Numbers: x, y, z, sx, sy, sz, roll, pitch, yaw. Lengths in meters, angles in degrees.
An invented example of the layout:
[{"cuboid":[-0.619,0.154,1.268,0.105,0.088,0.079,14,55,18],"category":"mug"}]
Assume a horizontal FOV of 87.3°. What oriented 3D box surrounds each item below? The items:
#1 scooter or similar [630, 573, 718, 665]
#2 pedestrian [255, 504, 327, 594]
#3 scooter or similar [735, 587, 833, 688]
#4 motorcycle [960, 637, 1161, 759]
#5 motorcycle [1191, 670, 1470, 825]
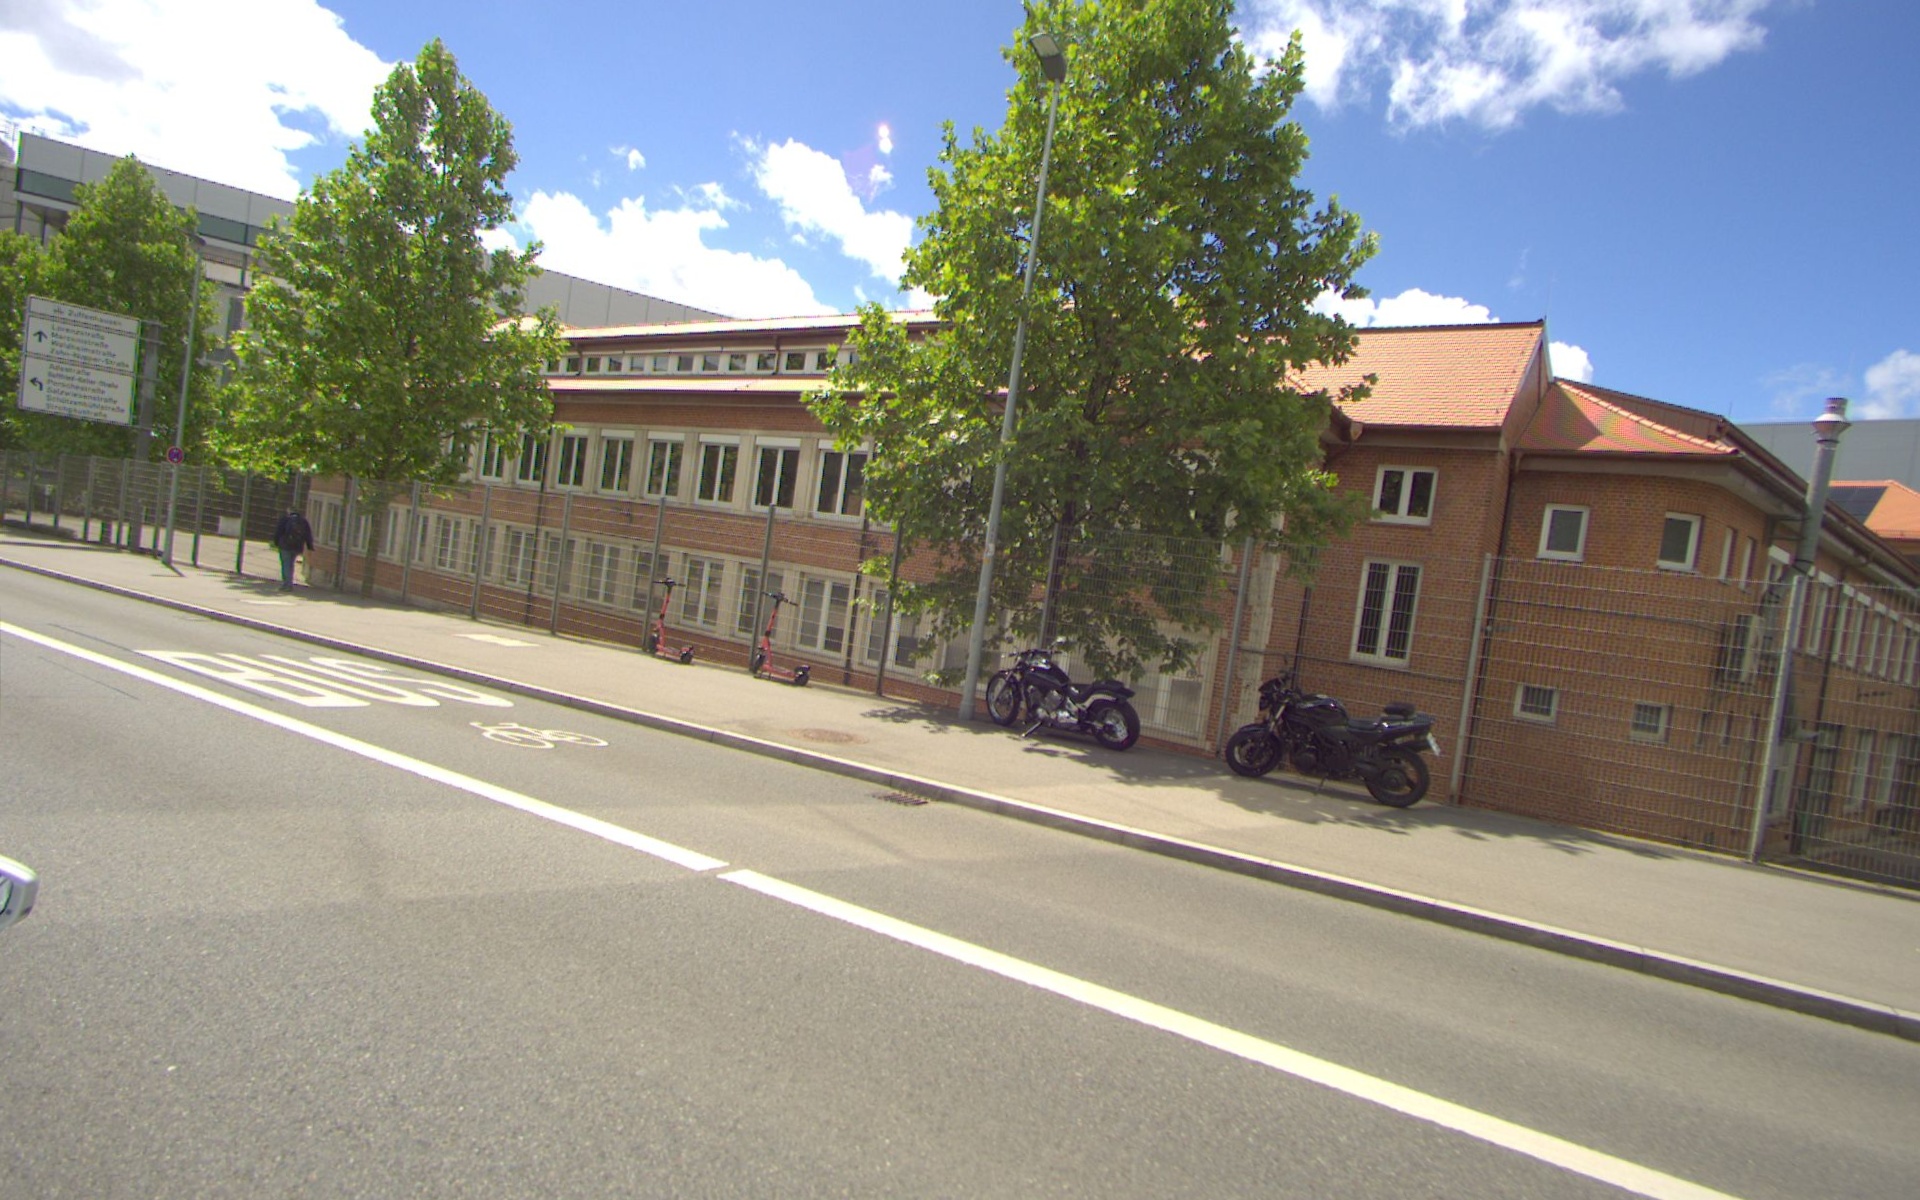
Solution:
[{"cuboid":[-4.560,0.297,16.002,1.314,1.311,0.491,7,2,32],"category":"scooter or similar"},{"cuboid":[-14.174,-1.074,21.321,0.925,1.766,0.877,7,2,32],"category":"pedestrian"},{"cuboid":[-2.586,0.536,14.759,1.314,1.311,0.491,7,2,32],"category":"scooter or similar"},{"cuboid":[1.152,1.105,11.876,2.210,1.078,0.668,7,3,32],"category":"motorcycle"},{"cuboid":[3.696,1.418,10.167,2.468,1.078,0.707,7,3,32],"category":"motorcycle"}]
